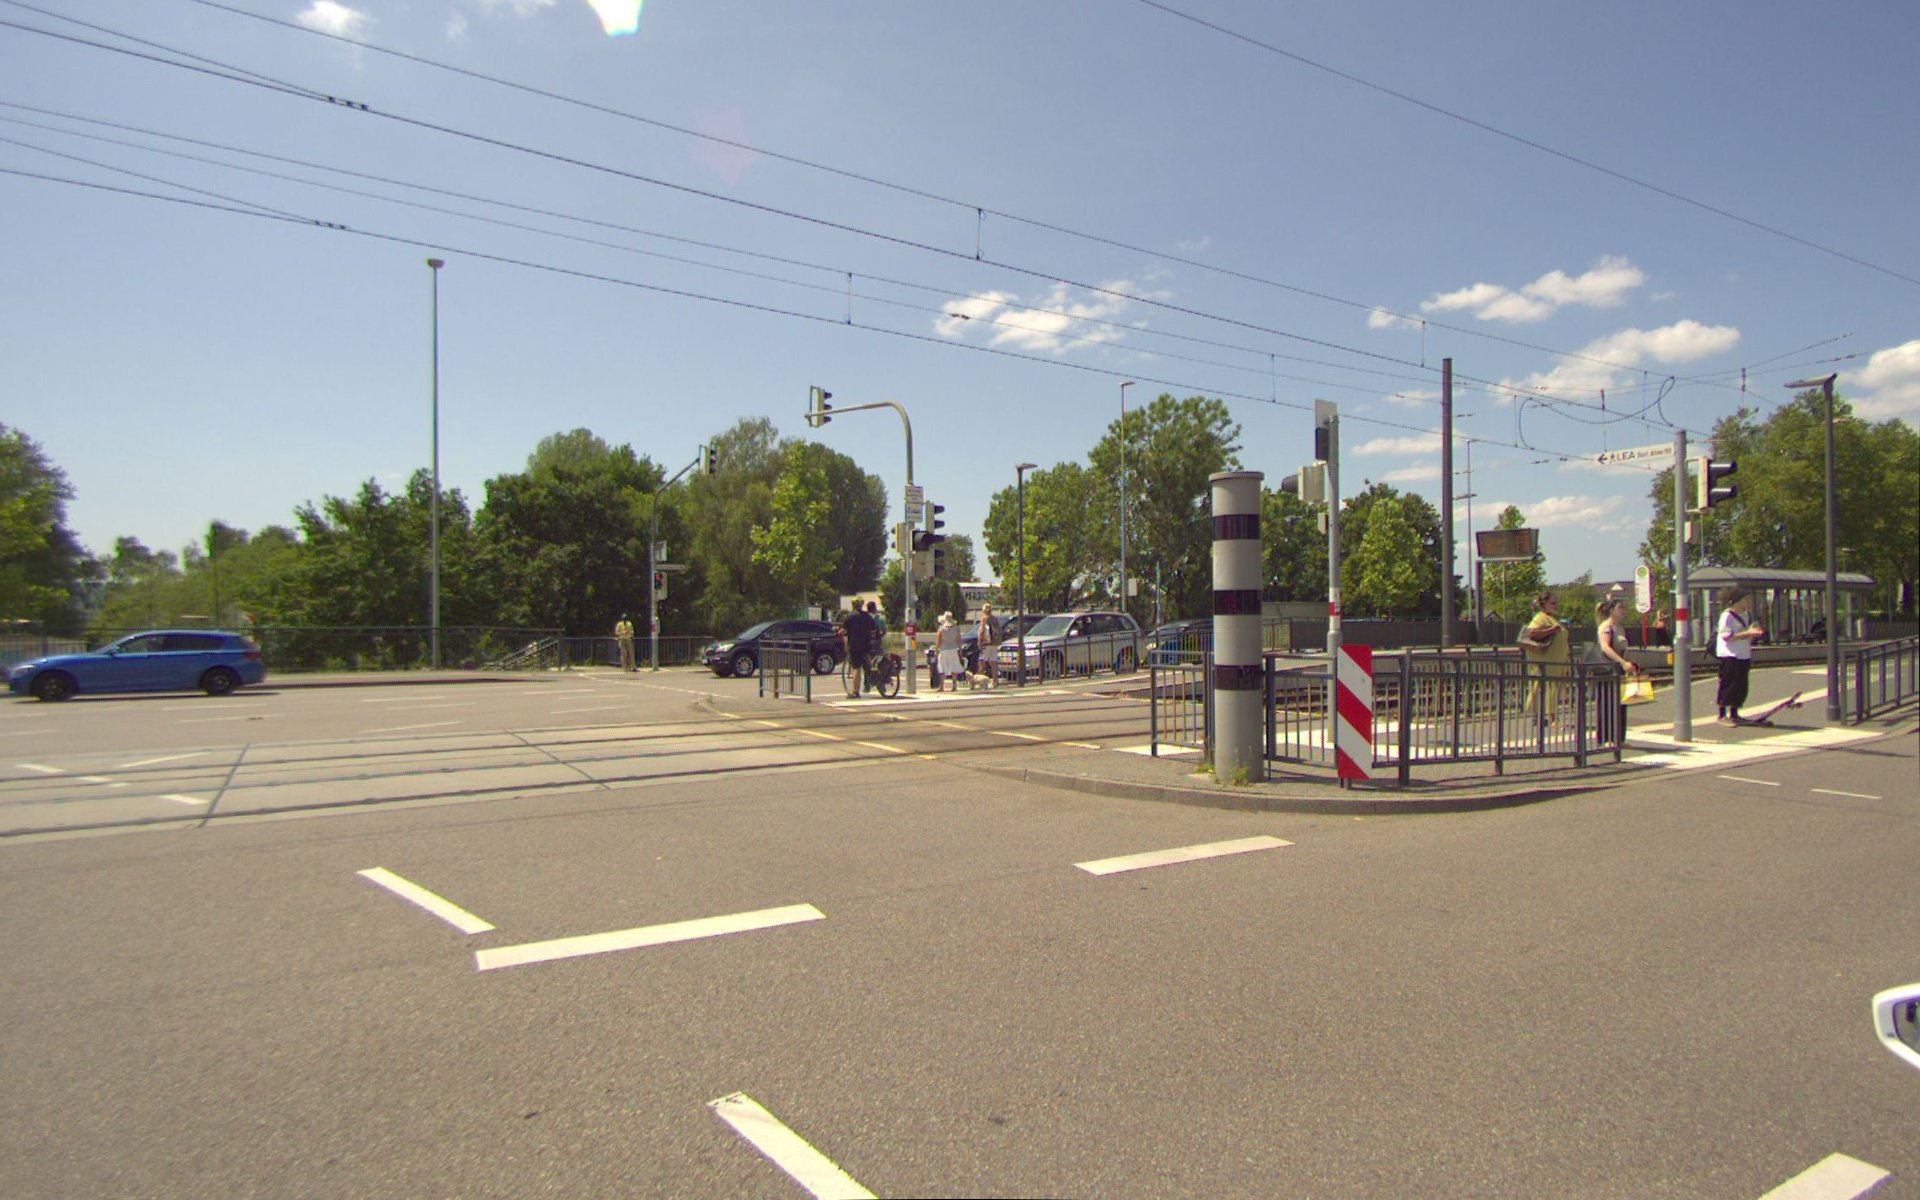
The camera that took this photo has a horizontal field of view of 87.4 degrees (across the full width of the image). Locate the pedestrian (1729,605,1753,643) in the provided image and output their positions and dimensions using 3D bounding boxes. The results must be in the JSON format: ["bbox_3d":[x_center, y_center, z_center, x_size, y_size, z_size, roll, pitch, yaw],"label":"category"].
[{"bbox_3d":[32.187,0.970,41.398,0.632,1.553,0.573,0,0,-33],"label":"pedestrian"}]

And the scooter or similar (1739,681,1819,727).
[{"bbox_3d":[10.680,1.346,13.100,0.453,0.512,0.721,0,0,-36],"label":"scooter or similar"}]

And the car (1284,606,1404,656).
[{"bbox_3d":[13.616,1.083,35.591,3.956,1.651,1.982,1,0,-32],"label":"car"}]

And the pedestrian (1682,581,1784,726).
[{"bbox_3d":[10.209,0.680,13.273,0.875,1.826,0.856,0,0,-37],"label":"pedestrian"}]

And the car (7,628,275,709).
[{"bbox_3d":[-17.400,1.393,21.656,4.308,1.464,1.979,0,0,-36],"label":"car"}]

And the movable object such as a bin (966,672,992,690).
[{"bbox_3d":[0.388,1.625,20.231,0.227,0.325,0.566,0,-1,-36],"label":"movable object such as a bin"}]

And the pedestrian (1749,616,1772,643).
[{"bbox_3d":[33.773,1.226,42.371,0.632,1.109,0.573,0,-1,-33],"label":"pedestrian"}]

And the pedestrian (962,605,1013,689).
[{"bbox_3d":[0.572,0.941,20.736,0.756,1.694,0.756,0,0,-35],"label":"pedestrian"}]

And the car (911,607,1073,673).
[{"bbox_3d":[0.879,1.022,27.021,3.956,1.650,1.982,0,0,-32],"label":"car"}]

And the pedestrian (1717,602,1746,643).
[{"bbox_3d":[31.516,0.901,41.035,0.567,1.660,0.828,0,0,4],"label":"pedestrian"}]

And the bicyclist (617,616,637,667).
[{"bbox_3d":[-10.769,1.324,32.511,0.537,1.631,0.583,0,0,-27],"label":"bicyclist"}]

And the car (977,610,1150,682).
[{"bbox_3d":[2.605,1.072,25.149,3.956,1.650,1.983,0,0,-32],"label":"car"}]

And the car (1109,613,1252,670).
[{"bbox_3d":[6.918,1.242,31.460,4.233,1.650,1.983,0,0,-32],"label":"car"}]

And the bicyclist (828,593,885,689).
[{"bbox_3d":[-1.816,0.697,17.663,0.656,1.636,0.730,1,0,41],"label":"bicyclist"}]

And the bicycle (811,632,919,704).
[{"bbox_3d":[-1.683,1.153,17.572,1.949,1.115,0.760,1,0,42],"label":"bicycle"}]

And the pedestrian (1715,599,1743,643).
[{"bbox_3d":[30.536,0.832,39.912,0.567,1.752,0.739,0,0,4],"label":"pedestrian"}]

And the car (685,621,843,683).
[{"bbox_3d":[-5.853,1.499,30.097,4.262,1.651,1.982,0,0,-33],"label":"car"}]

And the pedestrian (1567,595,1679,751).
[{"bbox_3d":[7.120,0.749,10.792,0.757,1.593,0.779,0,0,-36],"label":"pedestrian"}]

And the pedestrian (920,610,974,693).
[{"bbox_3d":[-0.247,0.971,19.451,0.756,1.569,0.756,0,0,-35],"label":"pedestrian"}]

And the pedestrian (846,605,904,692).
[{"bbox_3d":[-1.665,0.923,19.610,0.756,1.631,0.950,0,0,-35],"label":"pedestrian"}]

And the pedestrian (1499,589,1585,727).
[{"bbox_3d":[7.399,0.713,12.774,0.672,1.695,0.727,0,0,-36],"label":"pedestrian"}]

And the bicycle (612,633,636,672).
[{"bbox_3d":[-10.980,1.706,32.835,0.582,1.209,1.525,0,0,-25],"label":"bicycle"}]

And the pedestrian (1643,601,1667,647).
[{"bbox_3d":[25.729,0.874,37.163,0.800,1.660,0.552,0,0,-41],"label":"pedestrian"}]

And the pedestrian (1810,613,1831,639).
[{"bbox_3d":[39.947,1.199,46.635,0.632,1.206,0.573,0,-1,-33],"label":"pedestrian"}]
